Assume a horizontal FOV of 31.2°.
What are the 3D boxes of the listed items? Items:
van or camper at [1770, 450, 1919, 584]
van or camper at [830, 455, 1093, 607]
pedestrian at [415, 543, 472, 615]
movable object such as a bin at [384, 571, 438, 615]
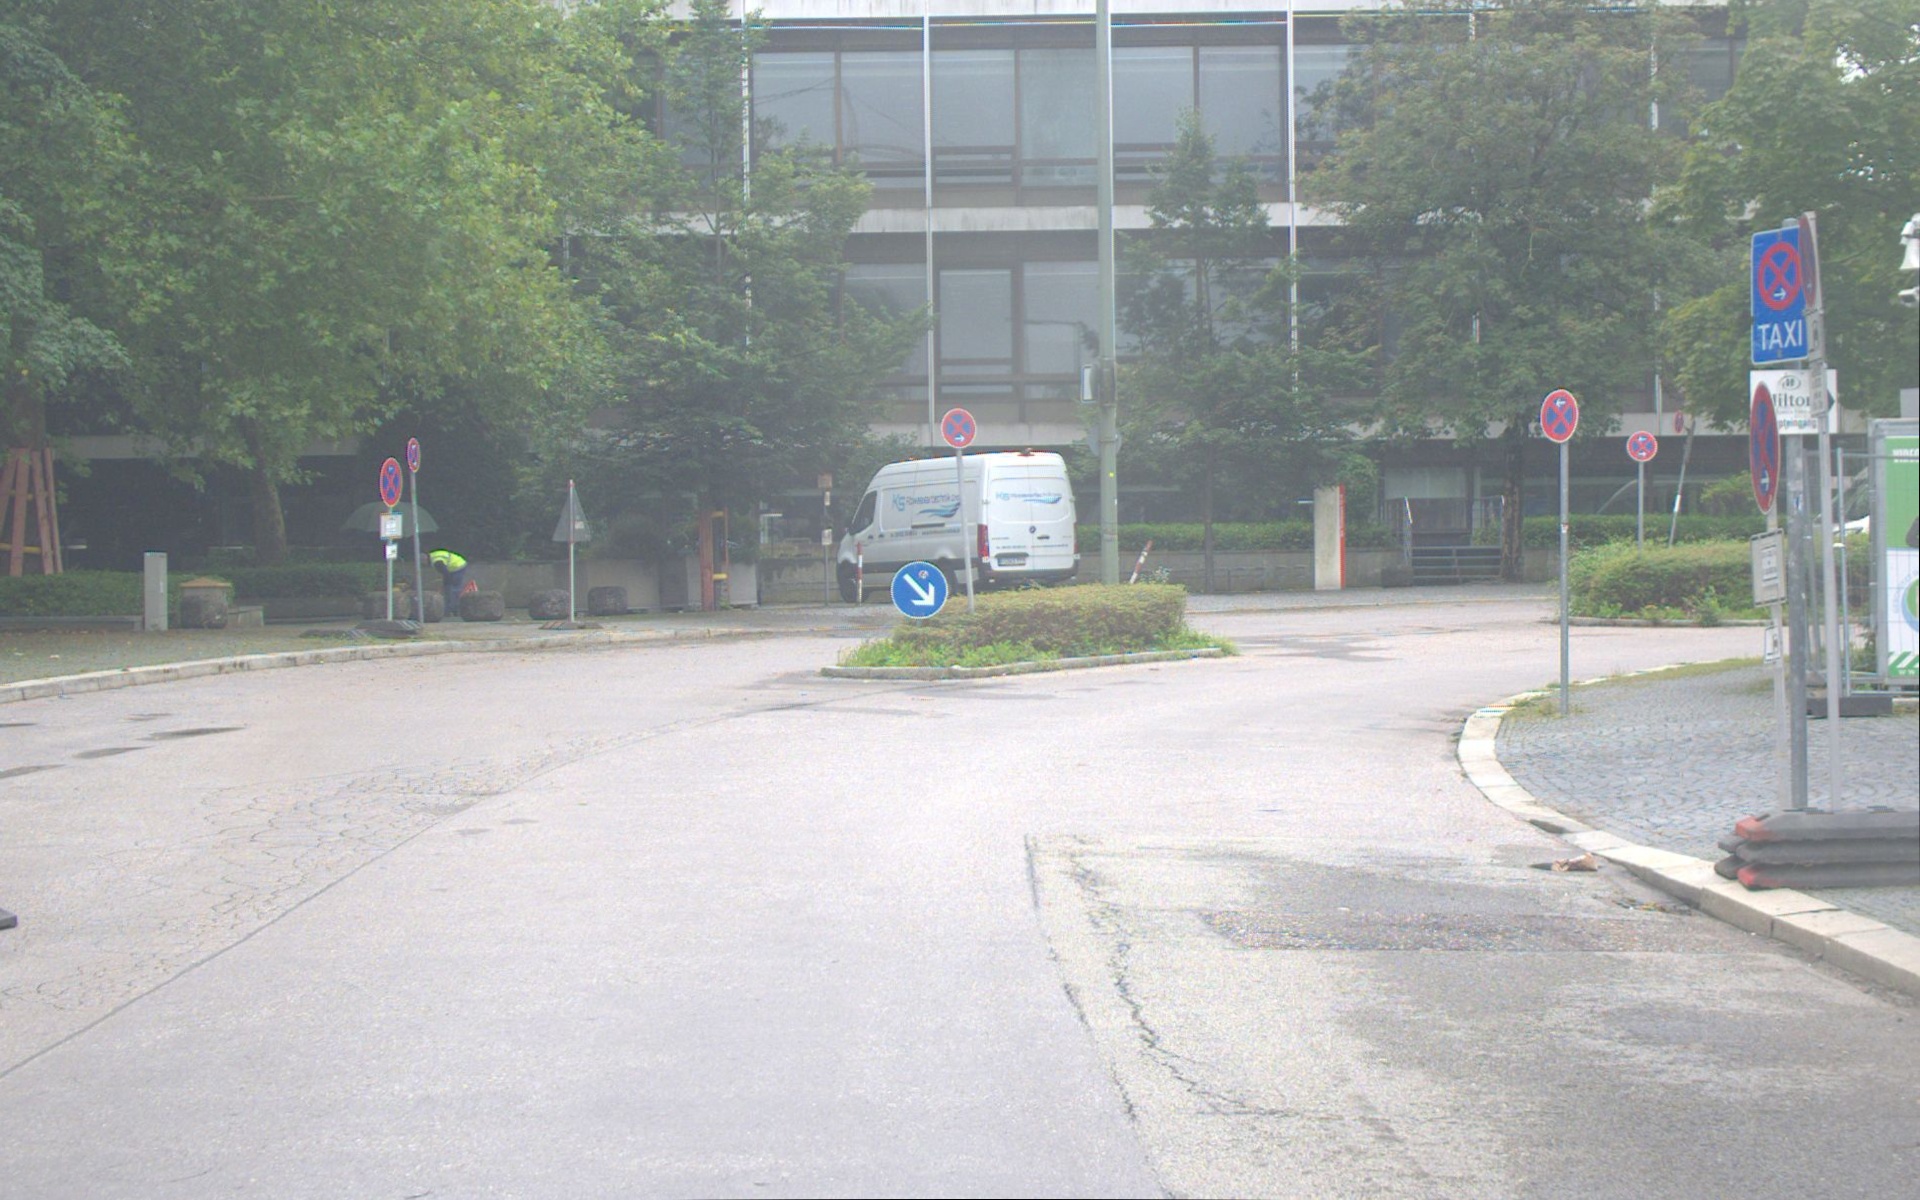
[{"bbox_3d":[17.600,-1.457,60.036,6.396,2.273,2.256,-1,1,-14],"label":"van or camper"},{"bbox_3d":[-0.069,-1.191,62.998,2.155,2.572,6.540,0,-1,-26],"label":"van or camper"},{"bbox_3d":[-9.141,-0.375,60.852,0.926,1.273,0.542,0,1,2],"label":"pedestrian"},{"bbox_3d":[-9.709,-0.126,60.819,0.834,0.751,0.572,0,1,2],"label":"movable object such as a bin"}]
